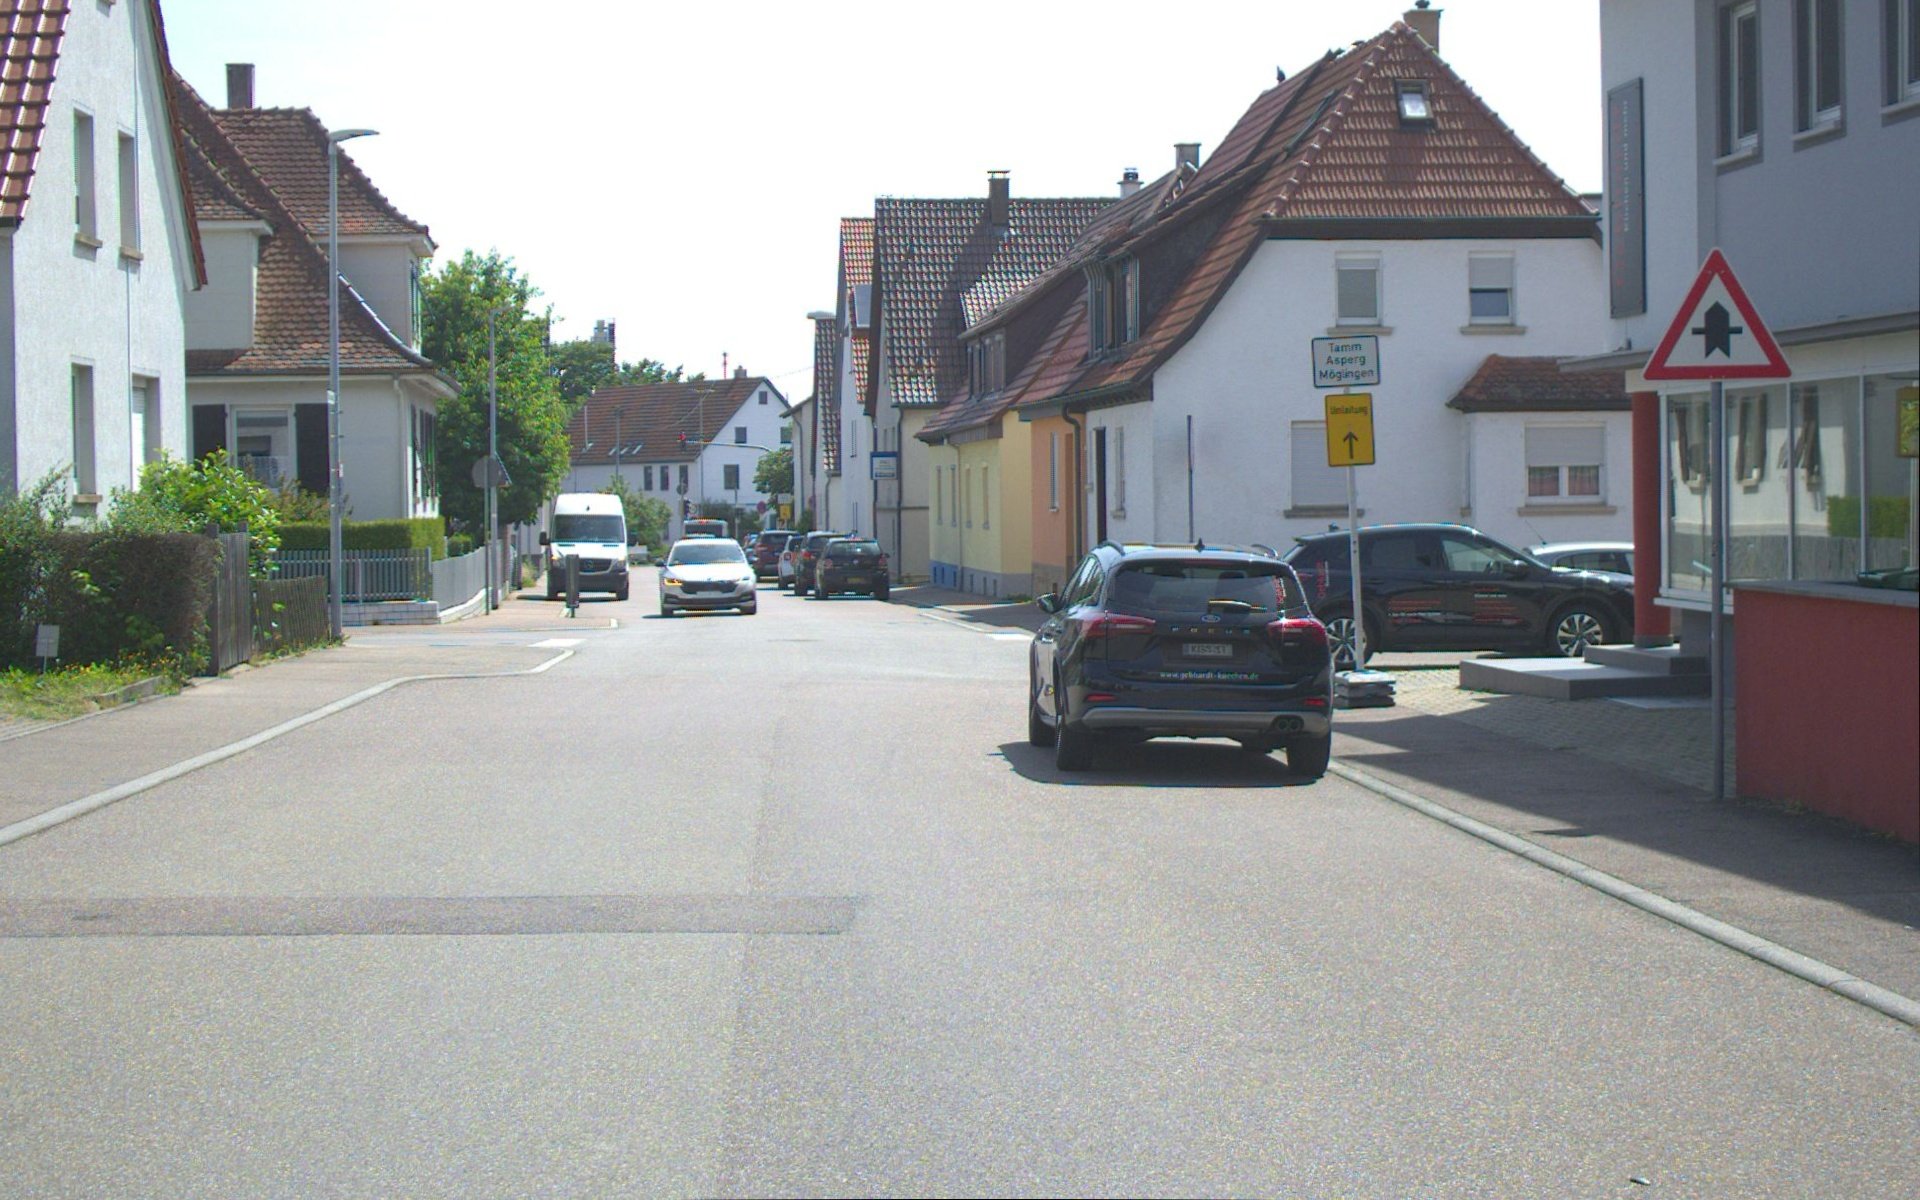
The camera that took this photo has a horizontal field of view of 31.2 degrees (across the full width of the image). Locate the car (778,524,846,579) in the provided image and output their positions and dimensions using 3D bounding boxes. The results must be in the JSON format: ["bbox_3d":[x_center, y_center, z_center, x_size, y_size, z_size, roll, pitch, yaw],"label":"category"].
[{"bbox_3d":[-4.256,-1.395,98.392,1.673,1.553,3.041,0,1,-8],"label":"car"}]

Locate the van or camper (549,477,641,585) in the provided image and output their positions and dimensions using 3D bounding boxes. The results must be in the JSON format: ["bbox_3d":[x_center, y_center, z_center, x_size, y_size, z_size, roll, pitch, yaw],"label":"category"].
[{"bbox_3d":[-9.101,-1.731,85.680,2.184,2.563,6.809,0,1,-6],"label":"van or camper"}]

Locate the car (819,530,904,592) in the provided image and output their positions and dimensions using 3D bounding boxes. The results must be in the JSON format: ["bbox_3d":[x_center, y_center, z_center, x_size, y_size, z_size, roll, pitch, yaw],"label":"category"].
[{"bbox_3d":[-2.328,-0.930,80.778,1.610,1.426,3.755,0,1,-8],"label":"car"}]

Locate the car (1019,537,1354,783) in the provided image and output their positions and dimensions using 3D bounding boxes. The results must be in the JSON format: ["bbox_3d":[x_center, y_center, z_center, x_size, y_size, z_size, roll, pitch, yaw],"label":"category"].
[{"bbox_3d":[1.464,0.339,23.807,1.761,1.522,4.407,0,1,-4],"label":"car"}]

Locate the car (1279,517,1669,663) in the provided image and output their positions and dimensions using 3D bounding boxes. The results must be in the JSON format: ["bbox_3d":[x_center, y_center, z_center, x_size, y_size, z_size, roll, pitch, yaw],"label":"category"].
[{"bbox_3d":[5.907,-0.137,39.869,4.294,1.647,1.848,0,1,3],"label":"car"}]

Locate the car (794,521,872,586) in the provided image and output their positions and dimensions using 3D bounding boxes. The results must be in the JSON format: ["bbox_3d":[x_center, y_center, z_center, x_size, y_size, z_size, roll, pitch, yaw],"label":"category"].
[{"bbox_3d":[-3.218,-1.192,86.297,1.728,1.594,4.254,0,1,-5],"label":"car"}]

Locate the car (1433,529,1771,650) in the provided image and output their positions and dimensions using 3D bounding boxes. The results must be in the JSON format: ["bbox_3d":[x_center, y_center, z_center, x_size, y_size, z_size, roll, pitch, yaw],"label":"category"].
[{"bbox_3d":[8.155,-0.146,43.885,3.987,1.499,1.694,0,1,0],"label":"car"}]

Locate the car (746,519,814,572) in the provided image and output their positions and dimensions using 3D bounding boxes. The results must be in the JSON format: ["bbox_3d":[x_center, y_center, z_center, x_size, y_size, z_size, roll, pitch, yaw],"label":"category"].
[{"bbox_3d":[-5.937,-1.817,113.166,1.875,1.694,4.184,0,1,-8],"label":"car"}]

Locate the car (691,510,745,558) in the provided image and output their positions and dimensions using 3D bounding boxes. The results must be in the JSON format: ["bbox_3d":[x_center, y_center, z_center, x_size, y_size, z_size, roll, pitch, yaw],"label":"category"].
[{"bbox_3d":[-11.121,-3.061,158.334,2.129,2.151,4.736,-1,1,0],"label":"car"}]

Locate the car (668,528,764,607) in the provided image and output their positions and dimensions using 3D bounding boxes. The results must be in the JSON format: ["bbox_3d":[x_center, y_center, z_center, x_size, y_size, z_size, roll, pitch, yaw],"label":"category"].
[{"bbox_3d":[-4.665,-0.639,65.400,1.753,1.433,4.589,0,1,-5],"label":"car"}]
